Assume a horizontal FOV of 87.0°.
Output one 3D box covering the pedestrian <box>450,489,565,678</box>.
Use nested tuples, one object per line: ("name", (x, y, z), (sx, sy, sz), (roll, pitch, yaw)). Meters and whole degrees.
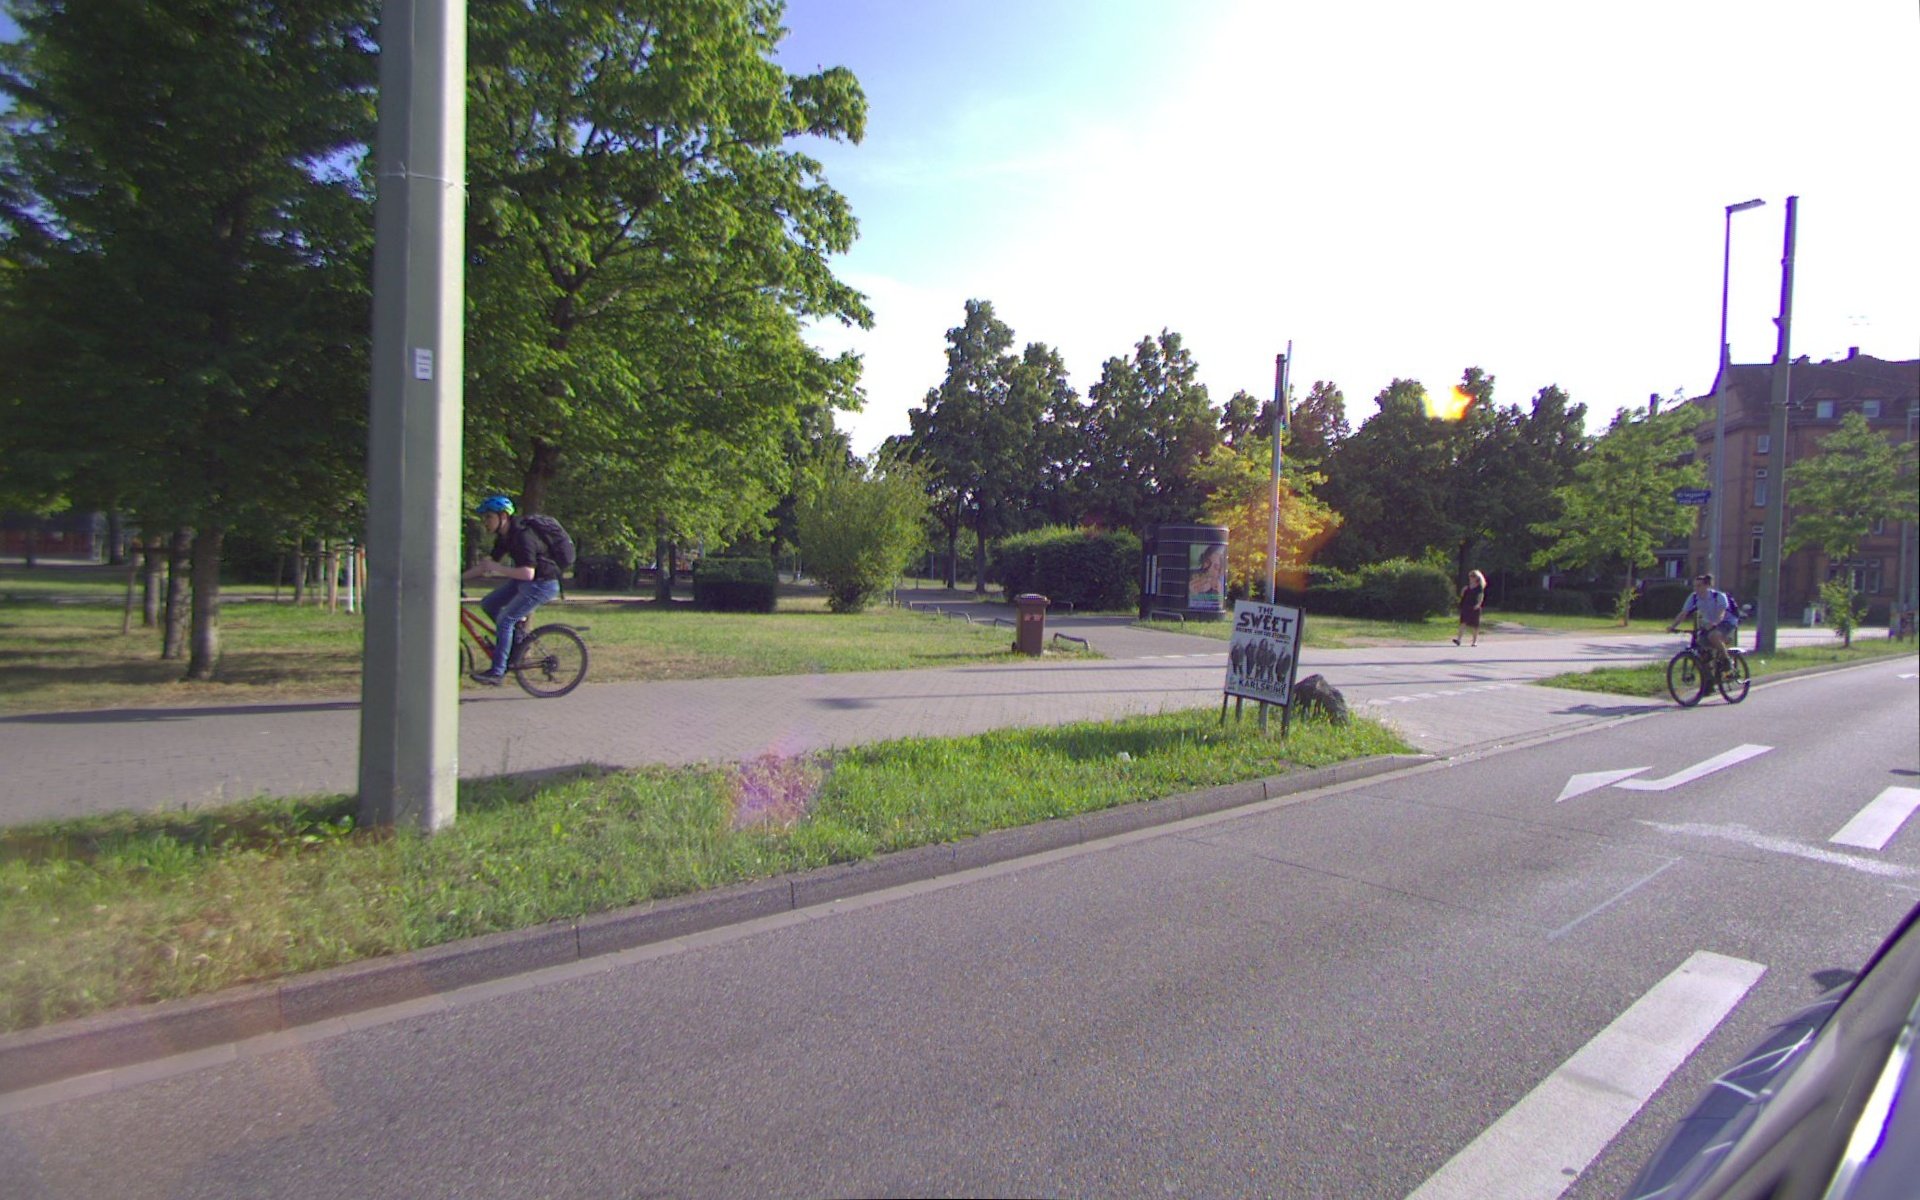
("pedestrian", (-3.863, -0.140, 8.691), (0.827, 1.540, 0.639), (0, 0, -17))

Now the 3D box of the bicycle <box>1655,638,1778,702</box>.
("bicycle", (10.641, 0.962, 14.217), (1.999, 0.803, 0.568), (1, 2, -28))

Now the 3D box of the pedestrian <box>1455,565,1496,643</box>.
("pedestrian", (11.507, 0.074, 22.596), (0.607, 1.706, 0.621), (1, 0, -40))

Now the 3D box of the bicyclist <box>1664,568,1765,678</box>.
("bicyclist", (10.635, 0.308, 14.264), (1.088, 1.472, 0.691), (1, 2, -28))

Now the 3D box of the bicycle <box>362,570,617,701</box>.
("bicycle", (-4.010, 0.276, 8.789), (1.939, 1.059, 0.653), (0, 0, -17))

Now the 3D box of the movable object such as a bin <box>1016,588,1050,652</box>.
("movable object such as a bin", (1.102, 0.301, 15.415), (0.447, 0.929, 0.605), (2, 2, 1))
